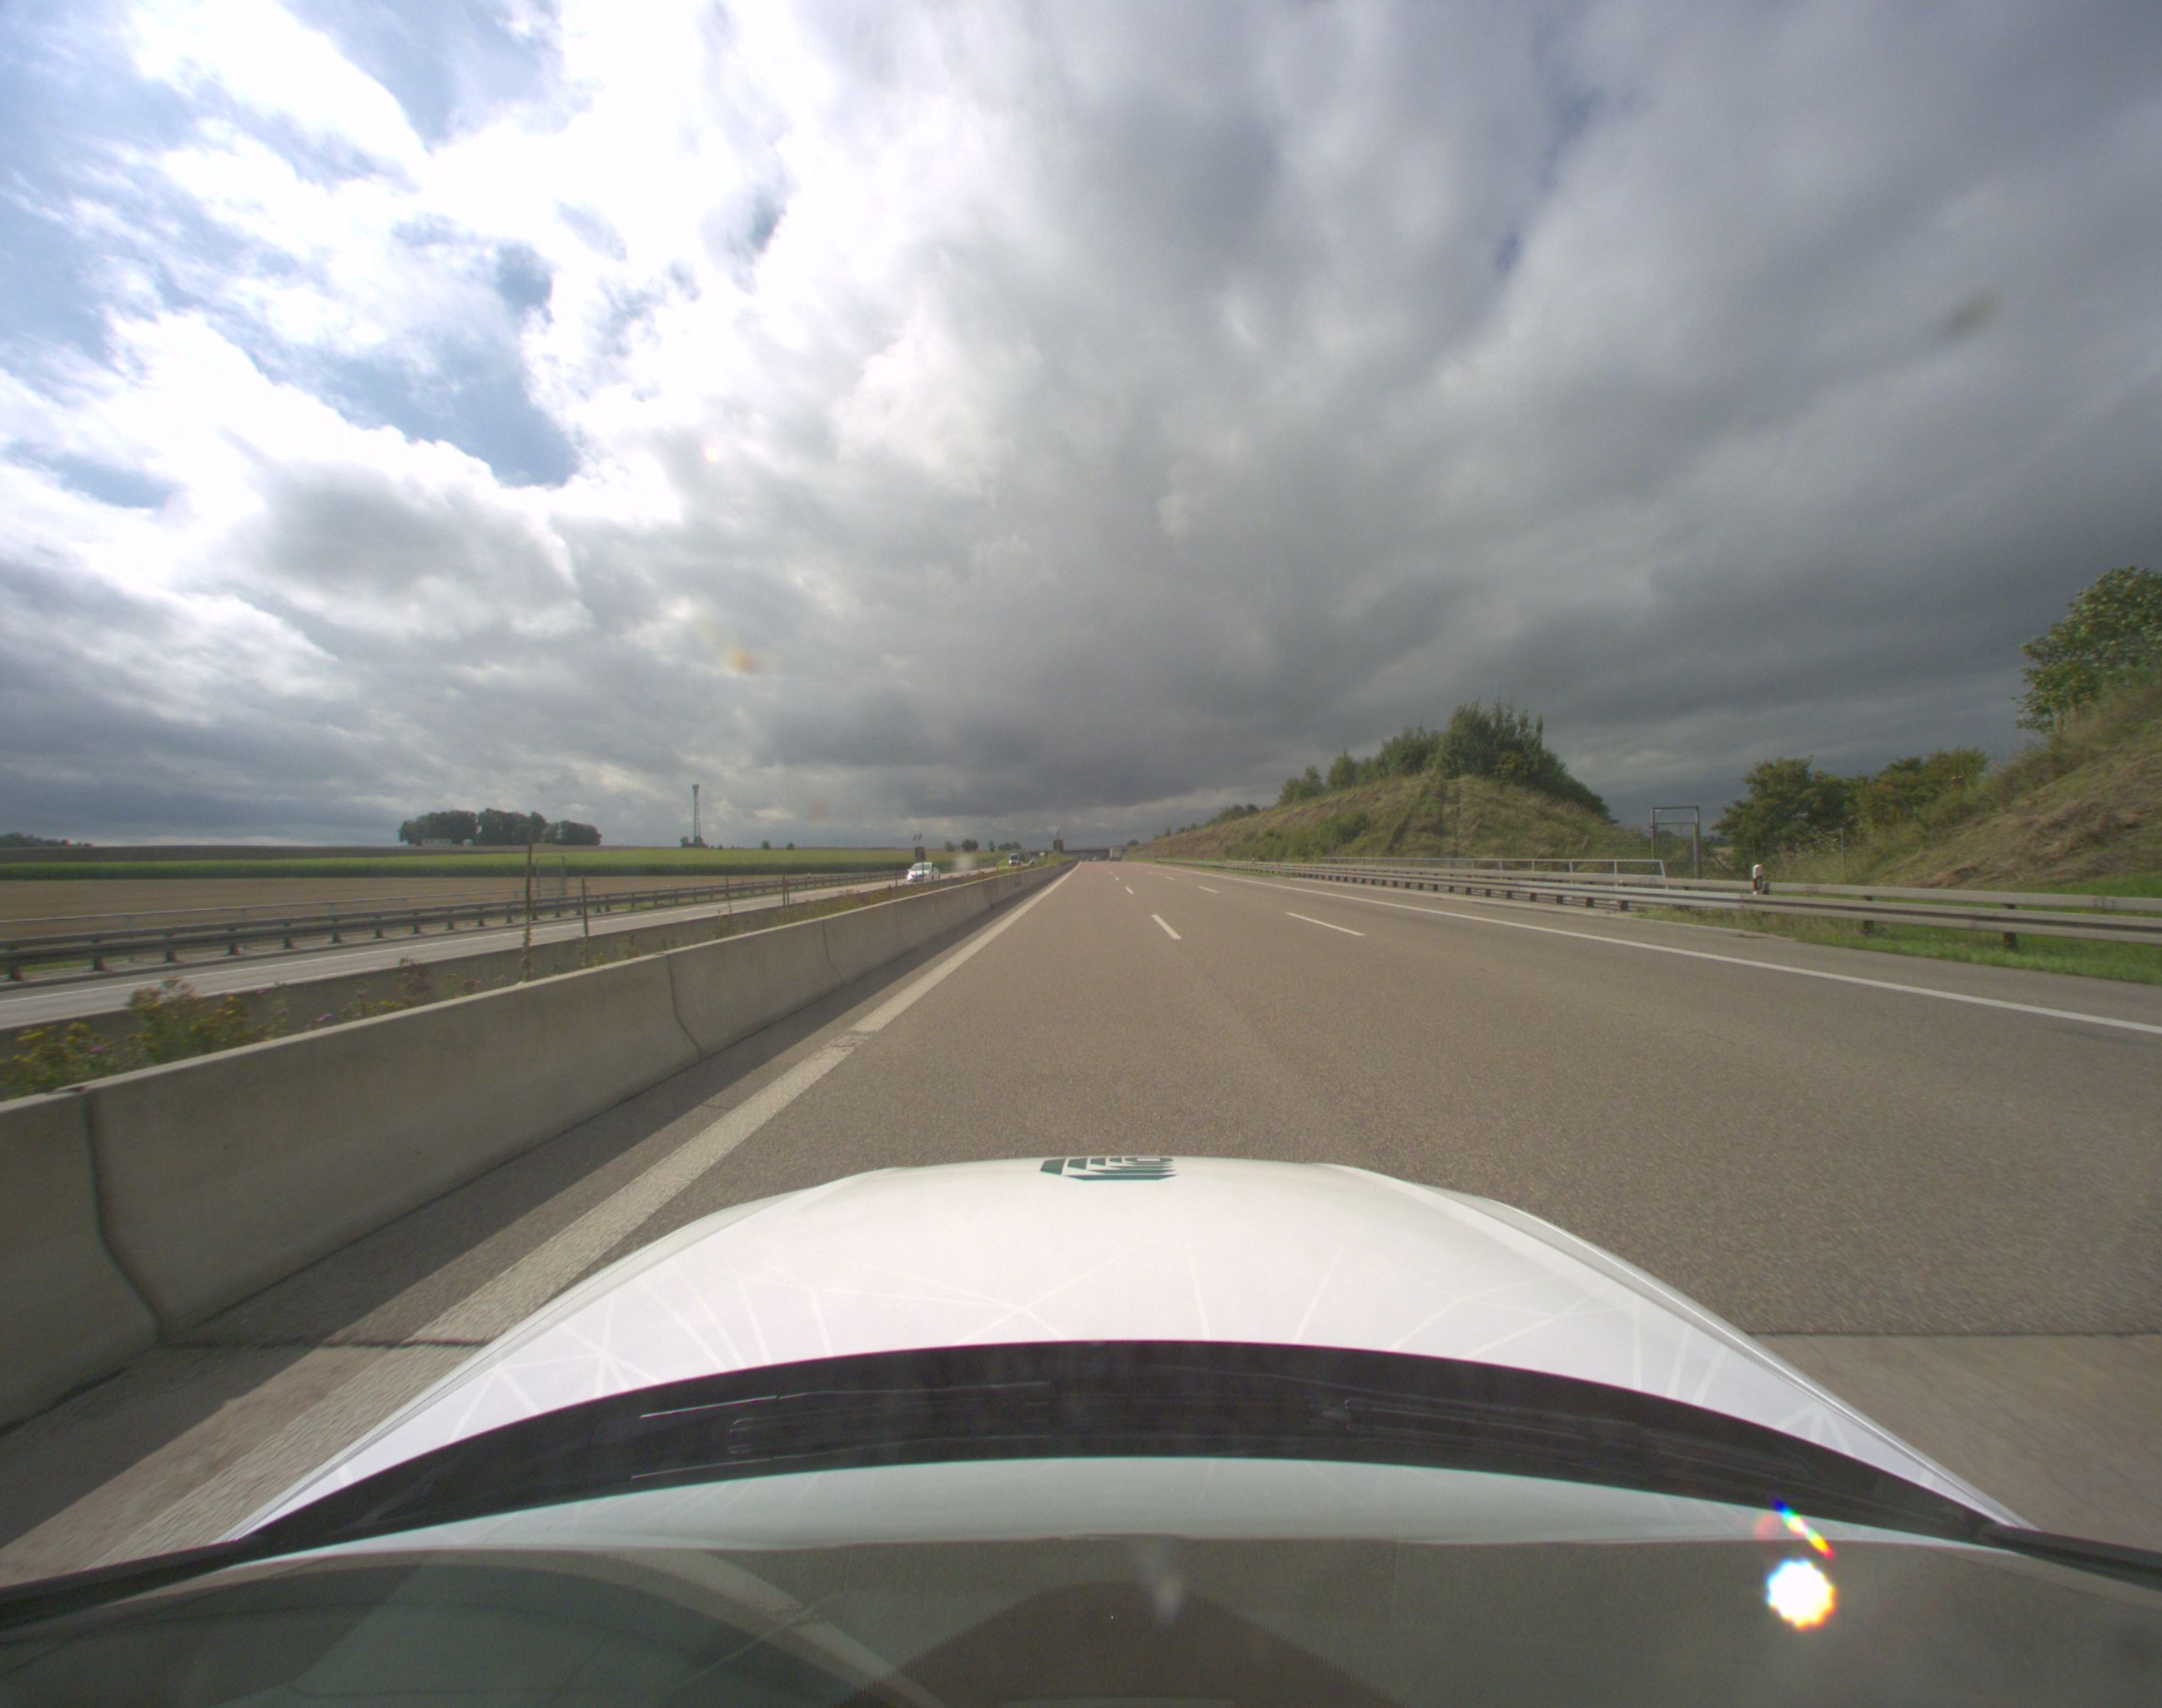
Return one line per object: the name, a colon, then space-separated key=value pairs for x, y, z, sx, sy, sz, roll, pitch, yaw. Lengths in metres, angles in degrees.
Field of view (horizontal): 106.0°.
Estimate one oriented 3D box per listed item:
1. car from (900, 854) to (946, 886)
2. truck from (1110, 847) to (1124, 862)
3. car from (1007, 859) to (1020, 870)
car: x=-10.931 y=1.079 z=56.729 sx=1.985 sy=2.070 sz=4.714 roll=-2 pitch=0 yaw=2
truck: x=9.671 y=0.210 z=221.599 sx=3.604 sy=3.945 sz=11.177 roll=0 pitch=0 yaw=1
car: x=-13.764 y=2.138 z=166.515 sx=2.049 sy=1.913 sz=5.705 roll=-2 pitch=0 yaw=2
